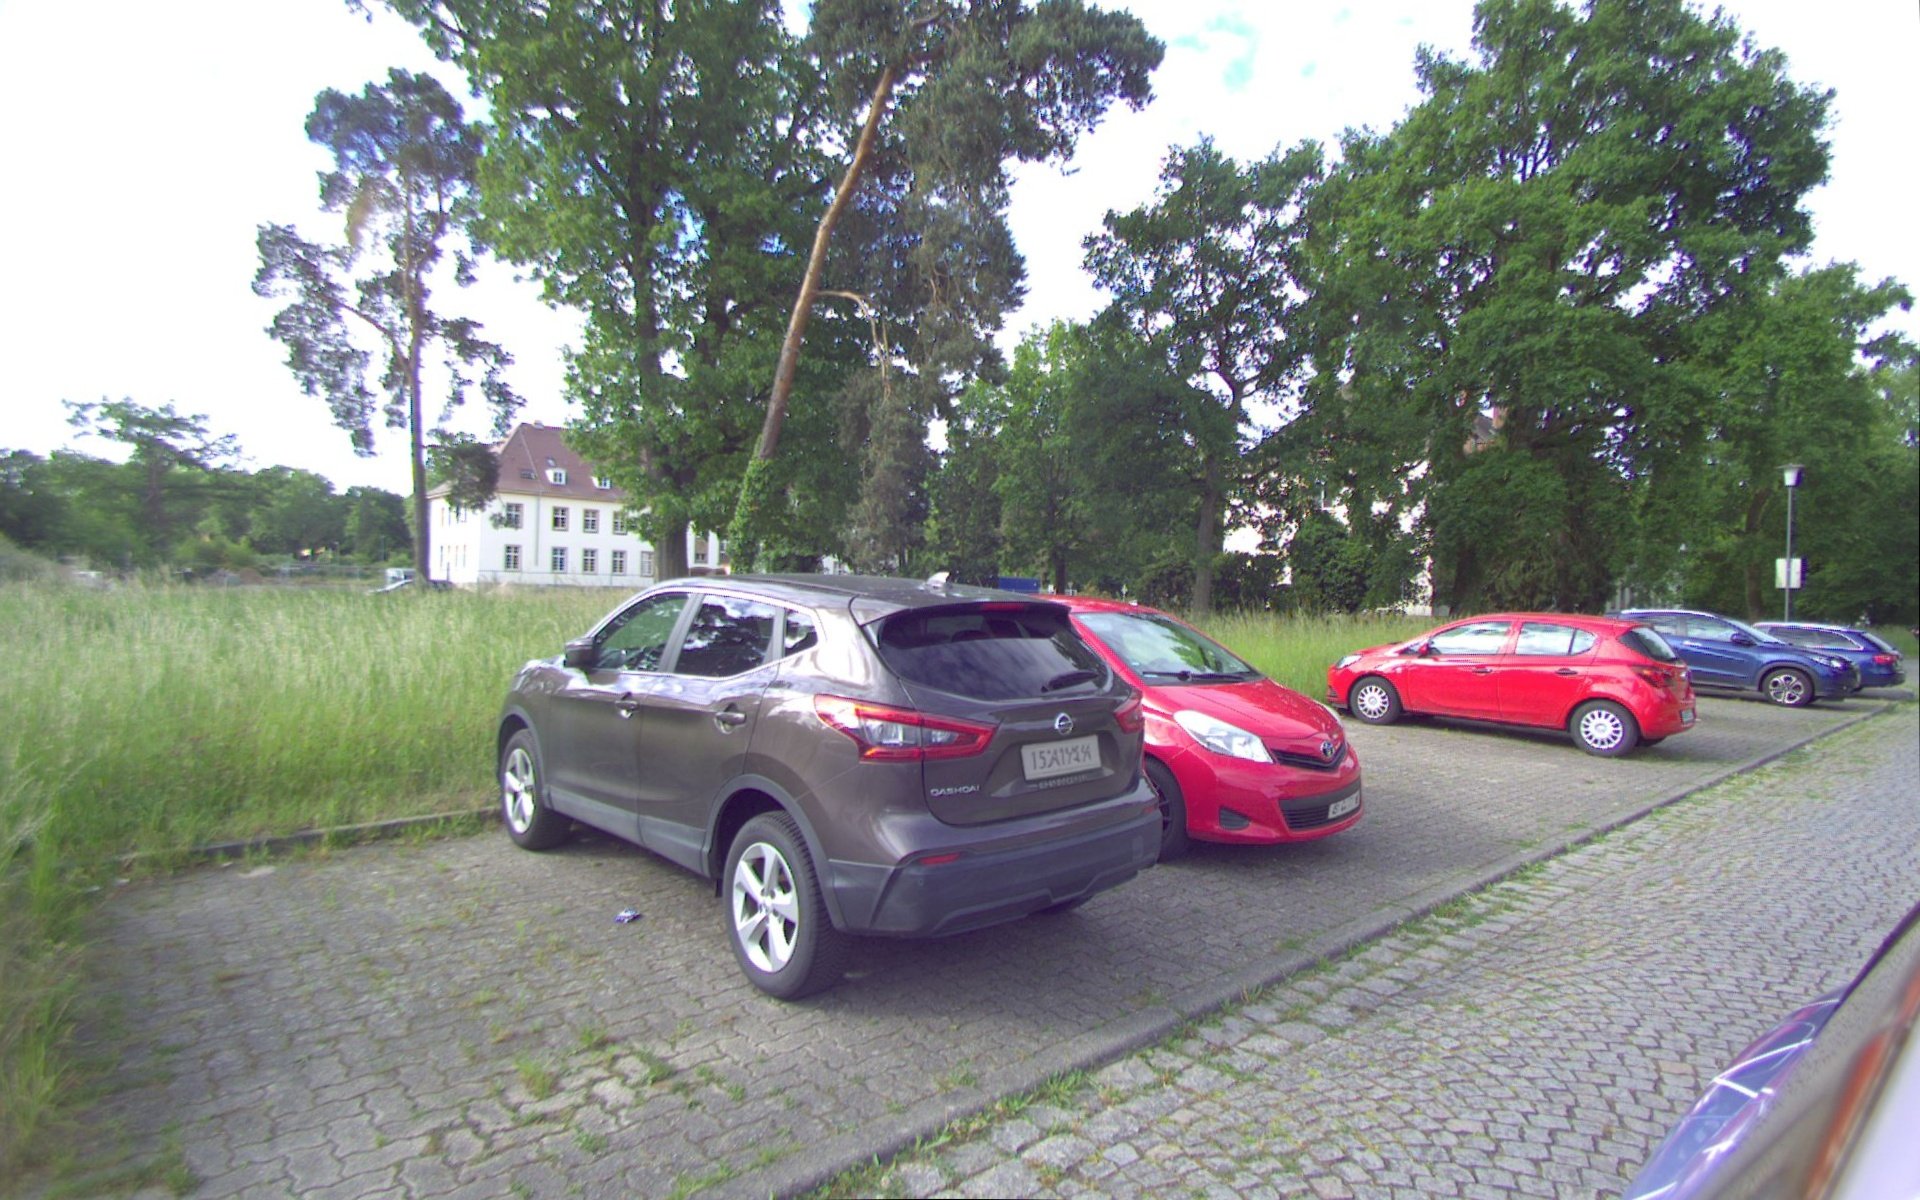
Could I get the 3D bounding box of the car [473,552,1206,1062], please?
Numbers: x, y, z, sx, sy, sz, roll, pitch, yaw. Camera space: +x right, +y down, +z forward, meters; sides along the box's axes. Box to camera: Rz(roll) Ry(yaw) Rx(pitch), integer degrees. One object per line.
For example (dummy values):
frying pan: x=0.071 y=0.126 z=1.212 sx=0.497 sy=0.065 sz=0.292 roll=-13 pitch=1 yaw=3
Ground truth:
car: x=-0.923 y=0.621 z=5.223 sx=1.732 sy=1.600 sz=3.954 roll=1 pitch=0 yaw=-43

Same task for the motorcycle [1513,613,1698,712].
motorcycle: x=9.680 y=0.892 z=15.260 sx=2.265 sy=1.291 sz=0.596 roll=3 pitch=1 yaw=44

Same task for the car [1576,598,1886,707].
car: x=14.198 y=0.882 z=18.831 sx=1.862 sy=1.593 sz=4.271 roll=2 pitch=1 yaw=-41

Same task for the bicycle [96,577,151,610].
bicycle: x=-37.939 y=-0.291 z=45.933 sx=1.900 sy=1.498 sz=0.654 roll=0 pitch=0 yaw=-41

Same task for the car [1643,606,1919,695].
car: x=17.744 y=1.016 z=21.908 sx=1.860 sy=1.483 sz=4.518 roll=2 pitch=2 yaw=-38

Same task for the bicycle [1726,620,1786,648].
bicycle: x=35.032 y=1.486 z=44.571 sx=1.999 sy=1.101 sz=0.474 roll=2 pitch=3 yaw=27

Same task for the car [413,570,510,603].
car: x=-26.642 y=-0.693 z=54.186 sx=4.323 sy=1.723 sz=1.972 roll=0 pitch=0 yaw=-41

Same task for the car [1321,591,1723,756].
car: x=6.583 y=0.740 z=12.157 sx=1.708 sy=1.524 sz=3.845 roll=2 pitch=1 yaw=-42

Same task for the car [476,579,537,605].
car: x=-37.616 y=-0.644 z=83.822 sx=5.811 sy=2.039 sz=2.450 roll=0 pitch=0 yaw=41

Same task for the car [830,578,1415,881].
car: x=0.908 y=0.649 z=7.316 sx=1.708 sy=1.537 sz=3.994 roll=1 pitch=0 yaw=-41

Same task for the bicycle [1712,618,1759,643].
bicycle: x=38.330 y=1.494 z=50.058 sx=1.734 sy=1.101 sz=0.548 roll=2 pitch=3 yaw=27

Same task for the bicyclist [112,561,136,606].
bicyclist: x=-37.943 y=-0.740 z=45.926 sx=0.833 sy=2.039 sz=0.658 roll=1 pitch=-1 yaw=-41
